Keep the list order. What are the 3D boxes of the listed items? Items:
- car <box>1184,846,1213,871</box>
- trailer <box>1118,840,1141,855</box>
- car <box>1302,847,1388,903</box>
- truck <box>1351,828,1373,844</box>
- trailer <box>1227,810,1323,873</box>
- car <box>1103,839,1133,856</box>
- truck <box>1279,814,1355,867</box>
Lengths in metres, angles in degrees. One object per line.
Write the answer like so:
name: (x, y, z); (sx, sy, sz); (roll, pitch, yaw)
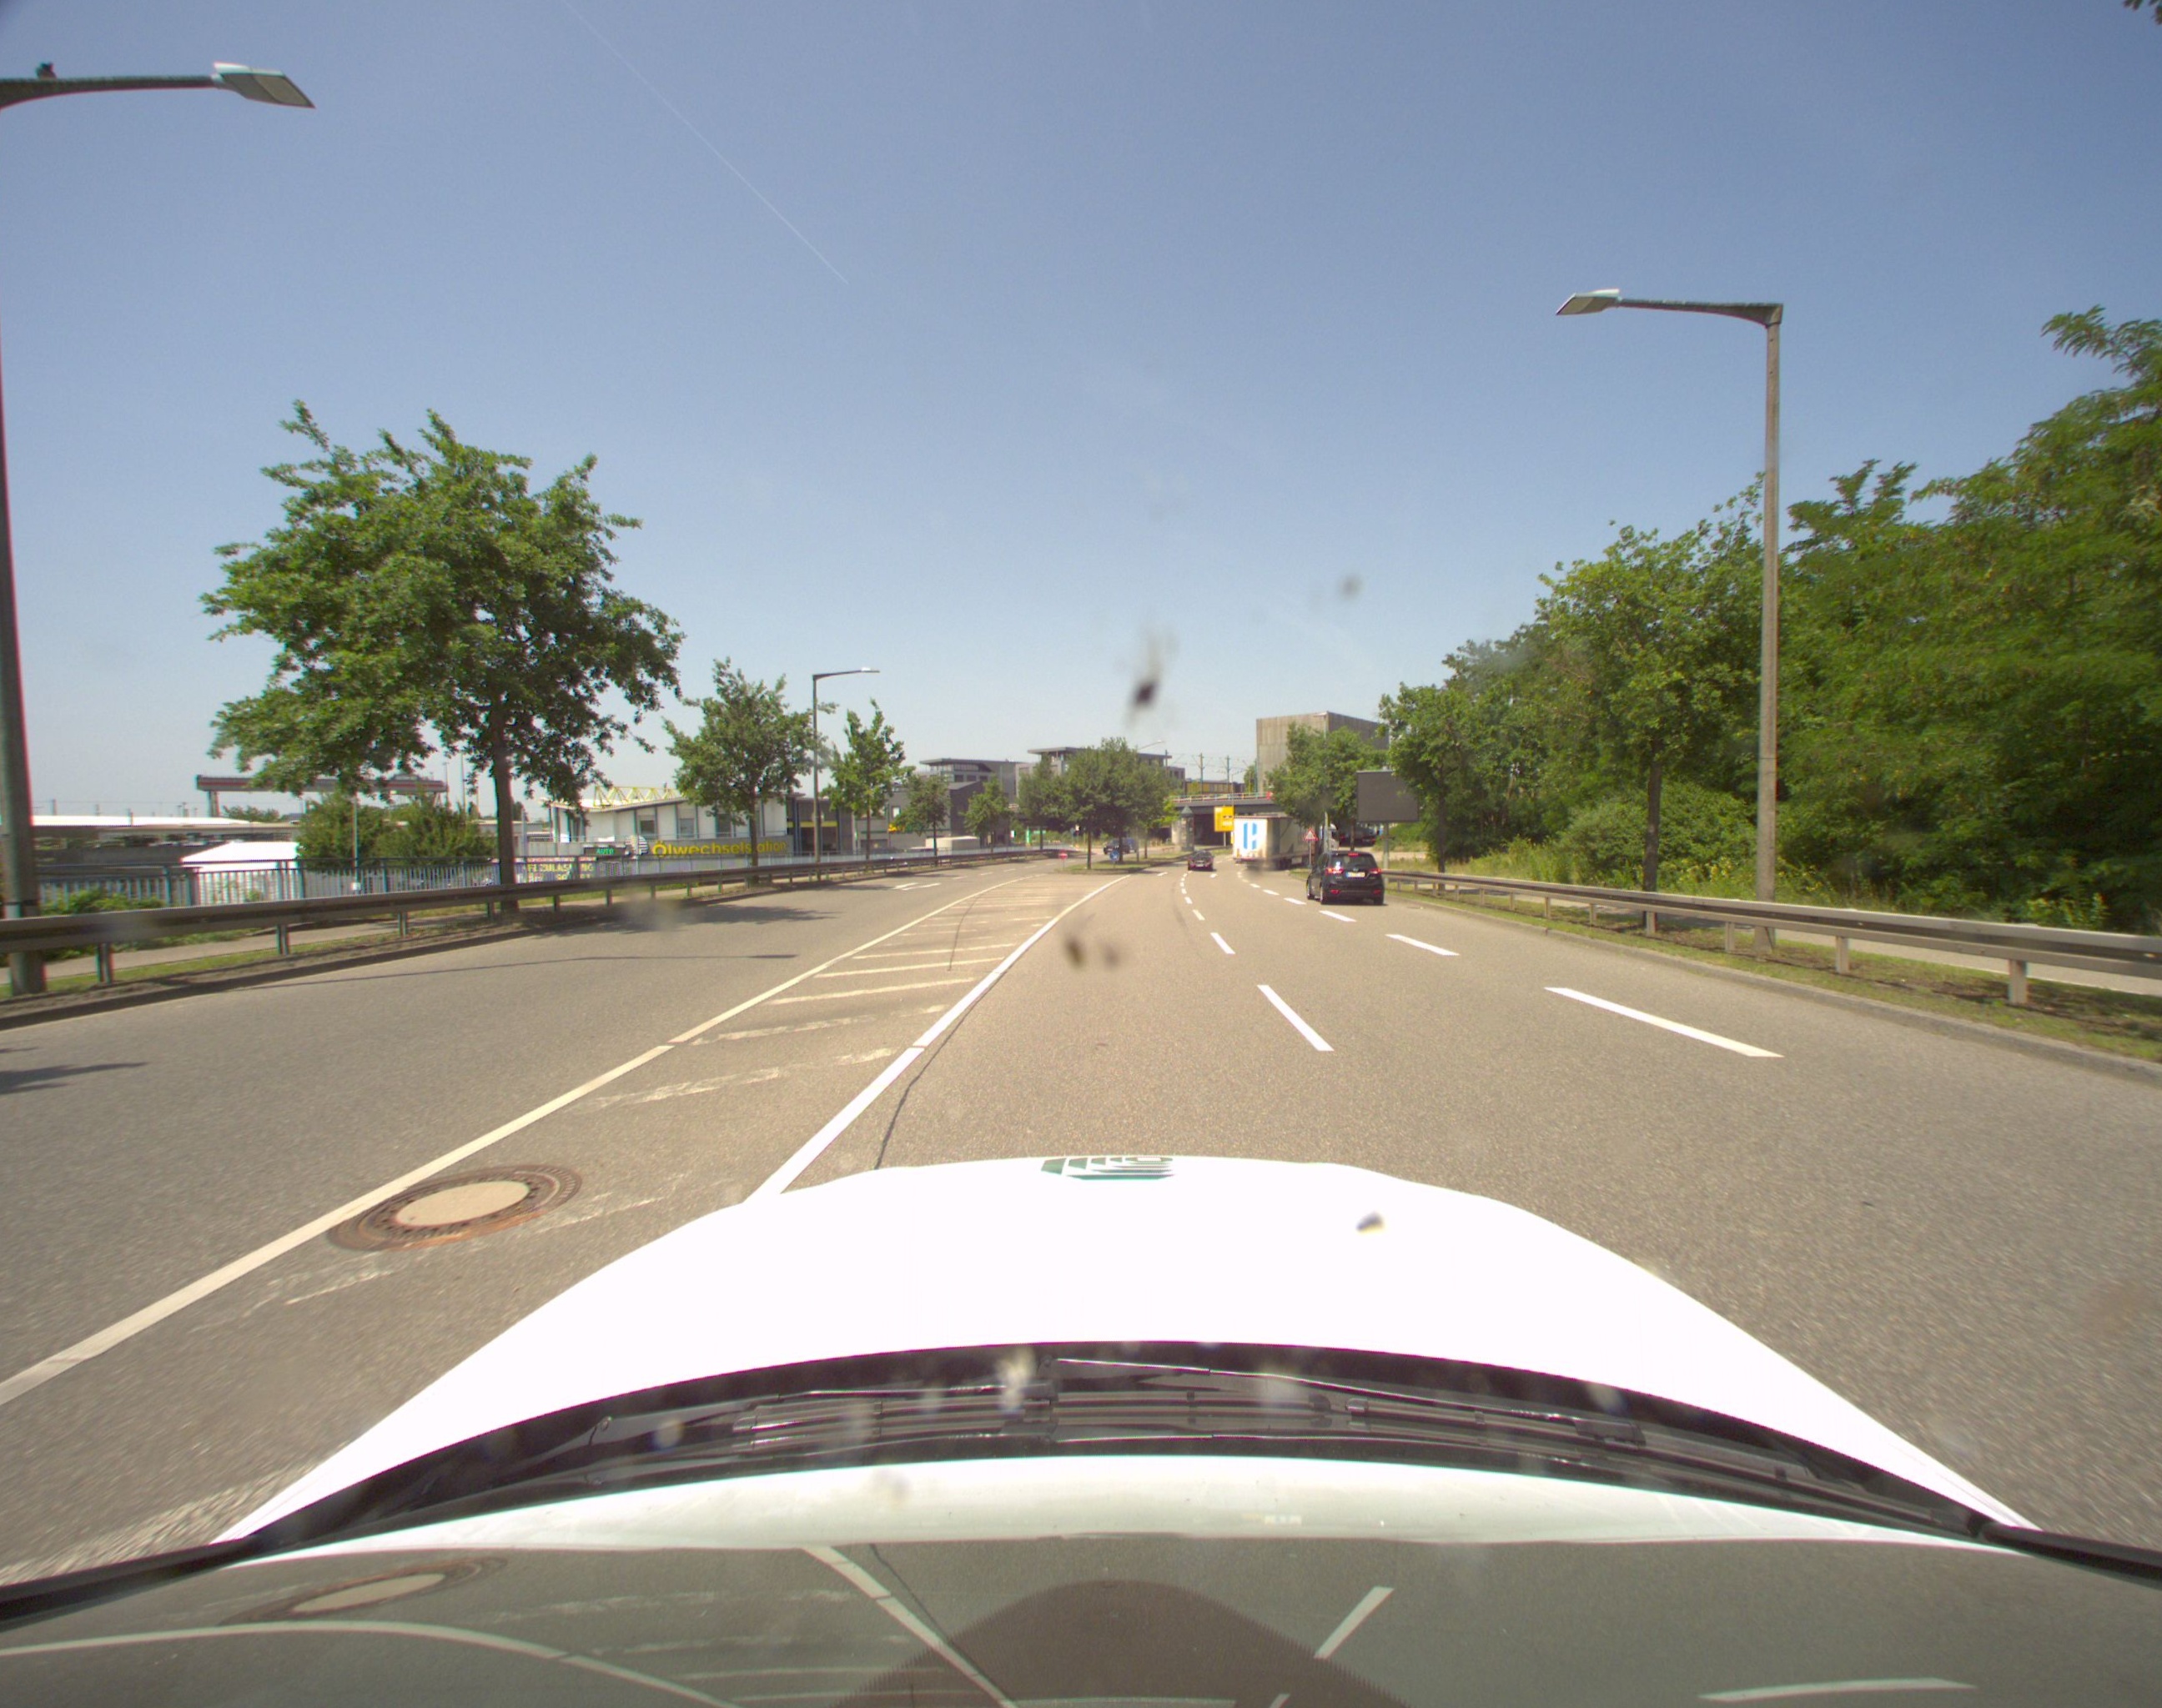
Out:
car: (8.288, 0.309, 57.685); (1.946, 1.633, 4.289); (-2, 0, 7)
trailer: (5.599, -0.715, 93.788); (1.492, 1.615, 3.326); (-4, -1, 22)
car: (7.987, 0.620, 25.030); (1.758, 1.599, 4.085); (0, -1, 7)
truck: (45.673, -2.996, 132.429); (2.047, 2.537, 4.026); (-1, 1, 40)
trailer: (15.765, -1.063, 64.796); (3.049, 4.367, 14.868); (3, 3, 30)
car: (4.122, -0.719, 90.190); (1.898, 1.652, 4.431); (-4, -1, 22)
truck: (20.589, -1.140, 70.914); (6.102, 4.367, 3.054); (1, 2, -34)
